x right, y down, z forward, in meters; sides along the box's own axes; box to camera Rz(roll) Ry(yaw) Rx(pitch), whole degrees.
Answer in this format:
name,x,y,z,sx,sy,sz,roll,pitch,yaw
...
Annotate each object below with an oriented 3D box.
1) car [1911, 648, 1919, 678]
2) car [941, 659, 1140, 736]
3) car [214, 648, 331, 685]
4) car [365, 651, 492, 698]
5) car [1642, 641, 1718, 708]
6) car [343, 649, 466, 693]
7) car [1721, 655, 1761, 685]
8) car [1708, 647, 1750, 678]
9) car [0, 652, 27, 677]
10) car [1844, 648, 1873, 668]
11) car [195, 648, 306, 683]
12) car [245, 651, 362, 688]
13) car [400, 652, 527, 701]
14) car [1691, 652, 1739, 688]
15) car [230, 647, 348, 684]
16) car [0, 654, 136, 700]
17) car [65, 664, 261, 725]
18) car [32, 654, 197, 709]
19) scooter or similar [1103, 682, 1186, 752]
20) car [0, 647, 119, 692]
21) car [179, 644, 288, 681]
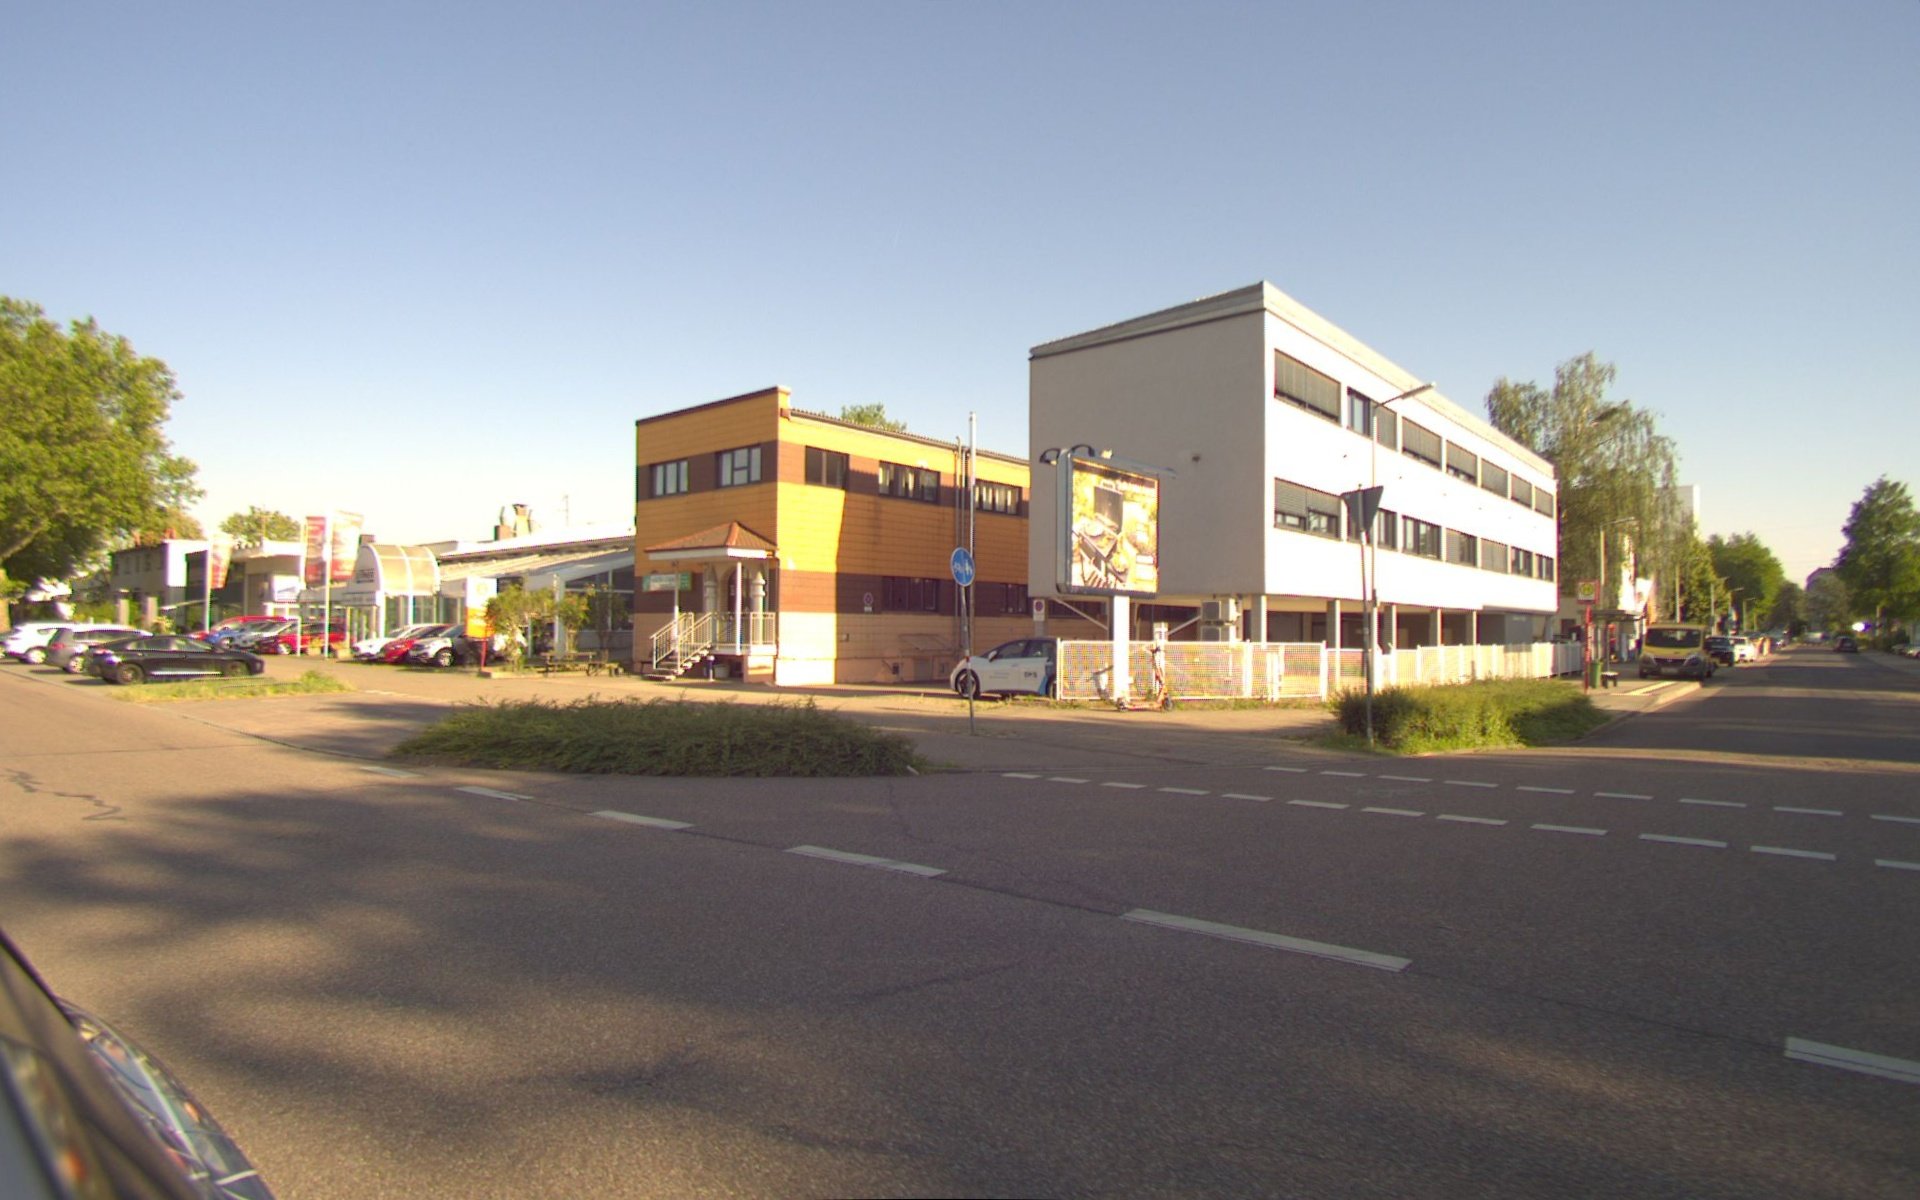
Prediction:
name,x,y,z,sx,sy,sz,roll,pitch,yaw
car,69.324,4.405,70.726,3.997,2.029,1.973,-1,-1,40
car,1.840,2.283,24.024,4.337,1.589,1.973,-5,-3,41
car,-35.588,3.402,52.475,1.998,1.655,4.672,-1,-1,39
car,-20.605,2.856,39.343,1.999,1.567,3.946,-1,-1,40
car,28.162,2.810,39.514,2.240,2.278,5.011,-1,-1,37
car,-22.506,2.836,41.072,1.999,1.567,3.946,-1,-1,40
car,54.653,4.844,70.889,2.089,1.785,4.899,-1,-1,37
car,50.242,4.029,66.193,2.089,1.785,4.899,-1,-1,37
car,-60.983,4.093,62.877,1.998,1.457,4.253,-1,-1,40
car,87.615,5.661,98.687,1.999,1.785,3.945,-1,-1,41
car,-39.054,3.577,55.807,1.998,1.646,4.667,-1,-1,39
car,-31.730,3.322,49.021,1.834,1.565,4.420,-1,-1,39
car,-18.573,2.812,37.935,1.887,1.567,3.870,-1,-1,40
car,43.528,4.005,58.350,2.089,1.785,4.899,-1,-1,37
car,-33.747,3.275,51.012,1.926,1.604,4.615,-1,-1,39
car,-38.258,3.222,43.312,2.199,1.668,4.262,-1,-1,38
car,-23.986,2.786,30.598,2.199,1.471,4.272,-1,-1,38
car,-30.290,2.859,36.344,2.199,1.668,4.191,-1,-1,38
scooter or similar,3.396,2.148,18.723,1.368,1.209,0.626,0,-1,-5
car,-44.171,3.317,48.842,2.200,1.913,5.206,-1,-1,40
car,-41.266,3.521,57.593,1.998,1.833,4.699,-1,-1,39
